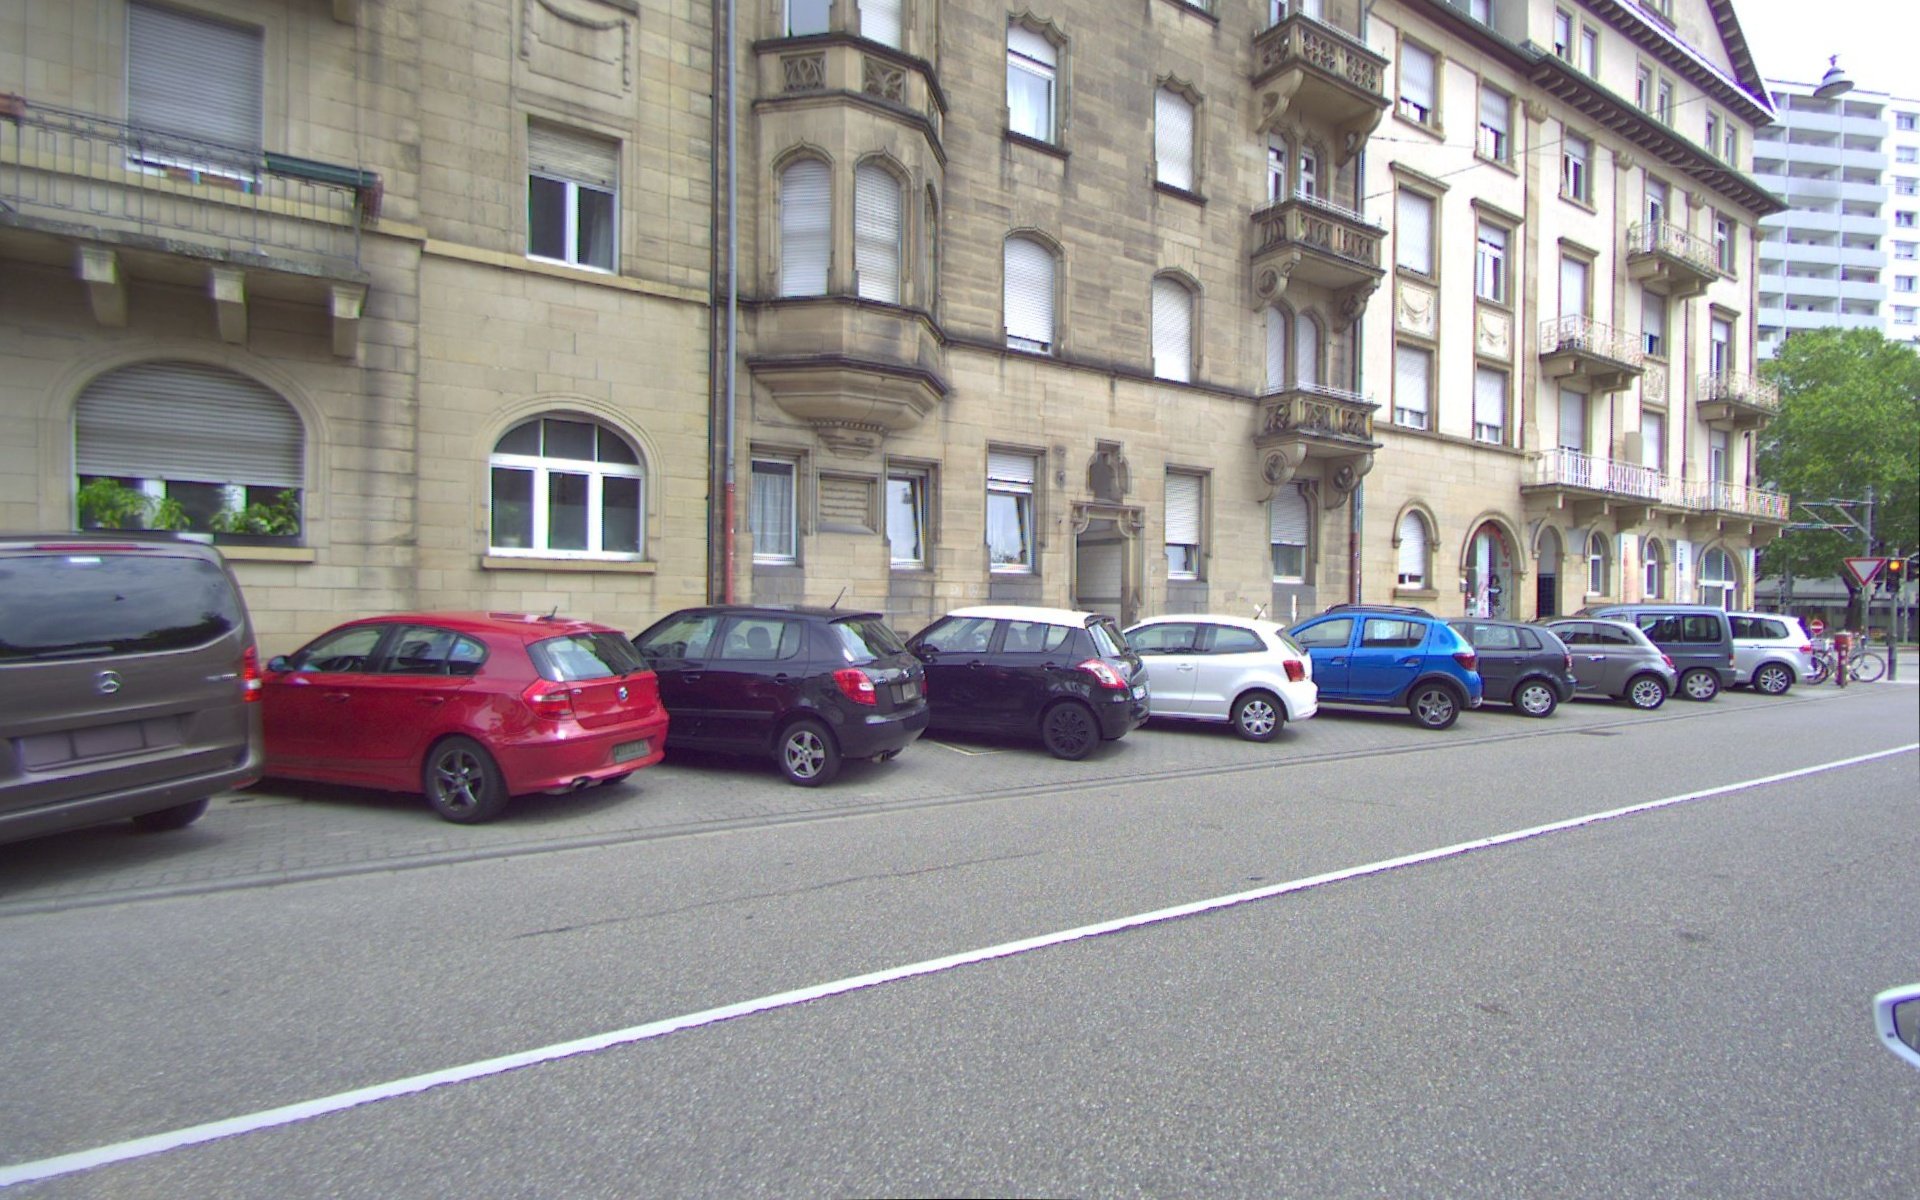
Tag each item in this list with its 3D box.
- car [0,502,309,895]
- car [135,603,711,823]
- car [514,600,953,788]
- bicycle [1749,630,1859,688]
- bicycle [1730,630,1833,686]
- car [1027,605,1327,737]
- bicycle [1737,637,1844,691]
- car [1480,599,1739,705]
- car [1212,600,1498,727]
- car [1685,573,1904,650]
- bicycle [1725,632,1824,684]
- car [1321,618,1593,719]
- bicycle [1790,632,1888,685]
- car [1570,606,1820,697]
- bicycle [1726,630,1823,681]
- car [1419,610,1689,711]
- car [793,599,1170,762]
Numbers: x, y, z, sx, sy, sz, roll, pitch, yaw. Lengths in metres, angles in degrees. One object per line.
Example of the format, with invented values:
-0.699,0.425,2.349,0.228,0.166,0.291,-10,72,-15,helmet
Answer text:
-6.924,0.481,6.391,5.169,1.935,2.121,0,0,23,car
-4.224,0.762,8.071,3.932,1.428,1.797,0,0,16,car
-2.186,0.778,9.719,3.919,1.523,1.631,0,0,22,car
19.429,1.341,23.171,0.587,1.135,1.801,1,3,-29,bicycle
19.697,1.371,24.112,0.589,1.182,1.794,1,1,-40,bicycle
2.858,0.835,13.111,3.614,1.501,1.742,0,0,21,car
18.849,1.433,22.844,0.586,1.135,1.803,1,-1,-26,bicycle
12.560,0.959,19.715,3.932,1.904,1.797,0,0,18,car
5.730,0.851,14.840,3.704,1.674,1.724,0,0,21,car
46.884,0.663,57.041,3.392,3.967,9.904,1,-1,-8,car
20.023,1.400,24.727,0.589,1.135,1.794,1,1,-40,bicycle
8.019,1.047,16.594,3.827,1.463,1.837,0,0,21,car
21.915,1.440,25.095,0.489,1.182,1.877,2,1,-12,bicycle
15.529,1.041,21.479,3.932,1.797,1.797,0,0,18,car
20.485,1.371,25.288,0.589,1.135,1.794,1,1,-40,bicycle
10.630,1.032,18.313,3.932,1.674,1.797,0,0,18,car
0.243,0.802,11.543,3.936,1.585,1.795,0,0,25,car
